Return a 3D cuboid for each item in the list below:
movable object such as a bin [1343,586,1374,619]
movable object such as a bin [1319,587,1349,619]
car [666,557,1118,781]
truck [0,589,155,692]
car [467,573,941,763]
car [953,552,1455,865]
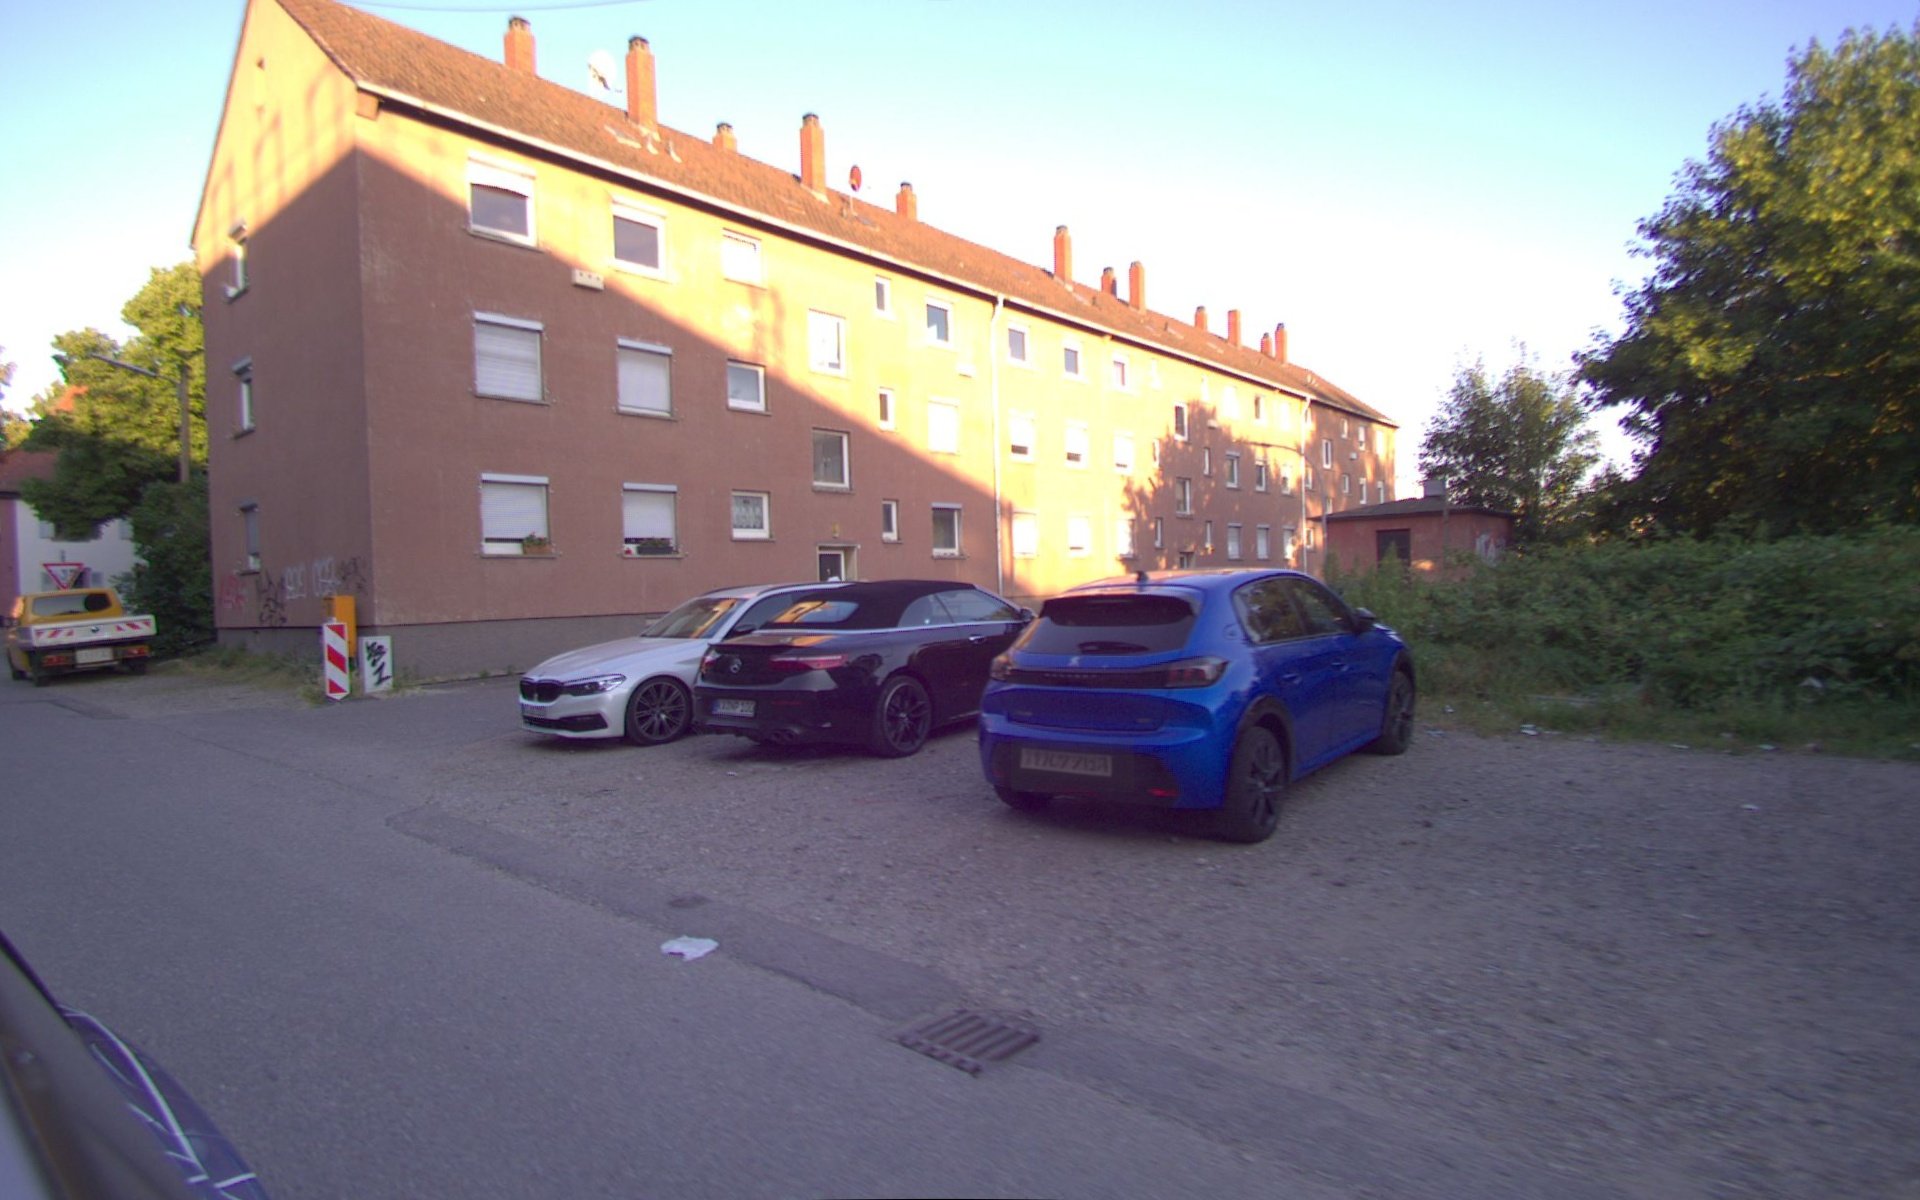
[{"bbox_3d":[11.608,0.079,29.460,0.645,0.910,0.605,-1,2,41],"label":"movable object such as a bin"},{"bbox_3d":[11.056,0.088,29.922,0.645,0.910,0.605,-1,2,41],"label":"movable object such as a bin"},{"bbox_3d":[-0.368,0.431,9.477,1.725,1.556,4.375,-1,2,38],"label":"car"},{"bbox_3d":[-19.697,0.818,22.335,5.659,1.927,2.013,-1,2,41],"label":"truck"},{"bbox_3d":[-2.598,0.563,11.489,2.113,1.556,4.947,-1,2,38],"label":"car"},{"bbox_3d":[1.855,0.454,6.755,1.726,1.440,3.798,-1,2,40],"label":"car"}]
